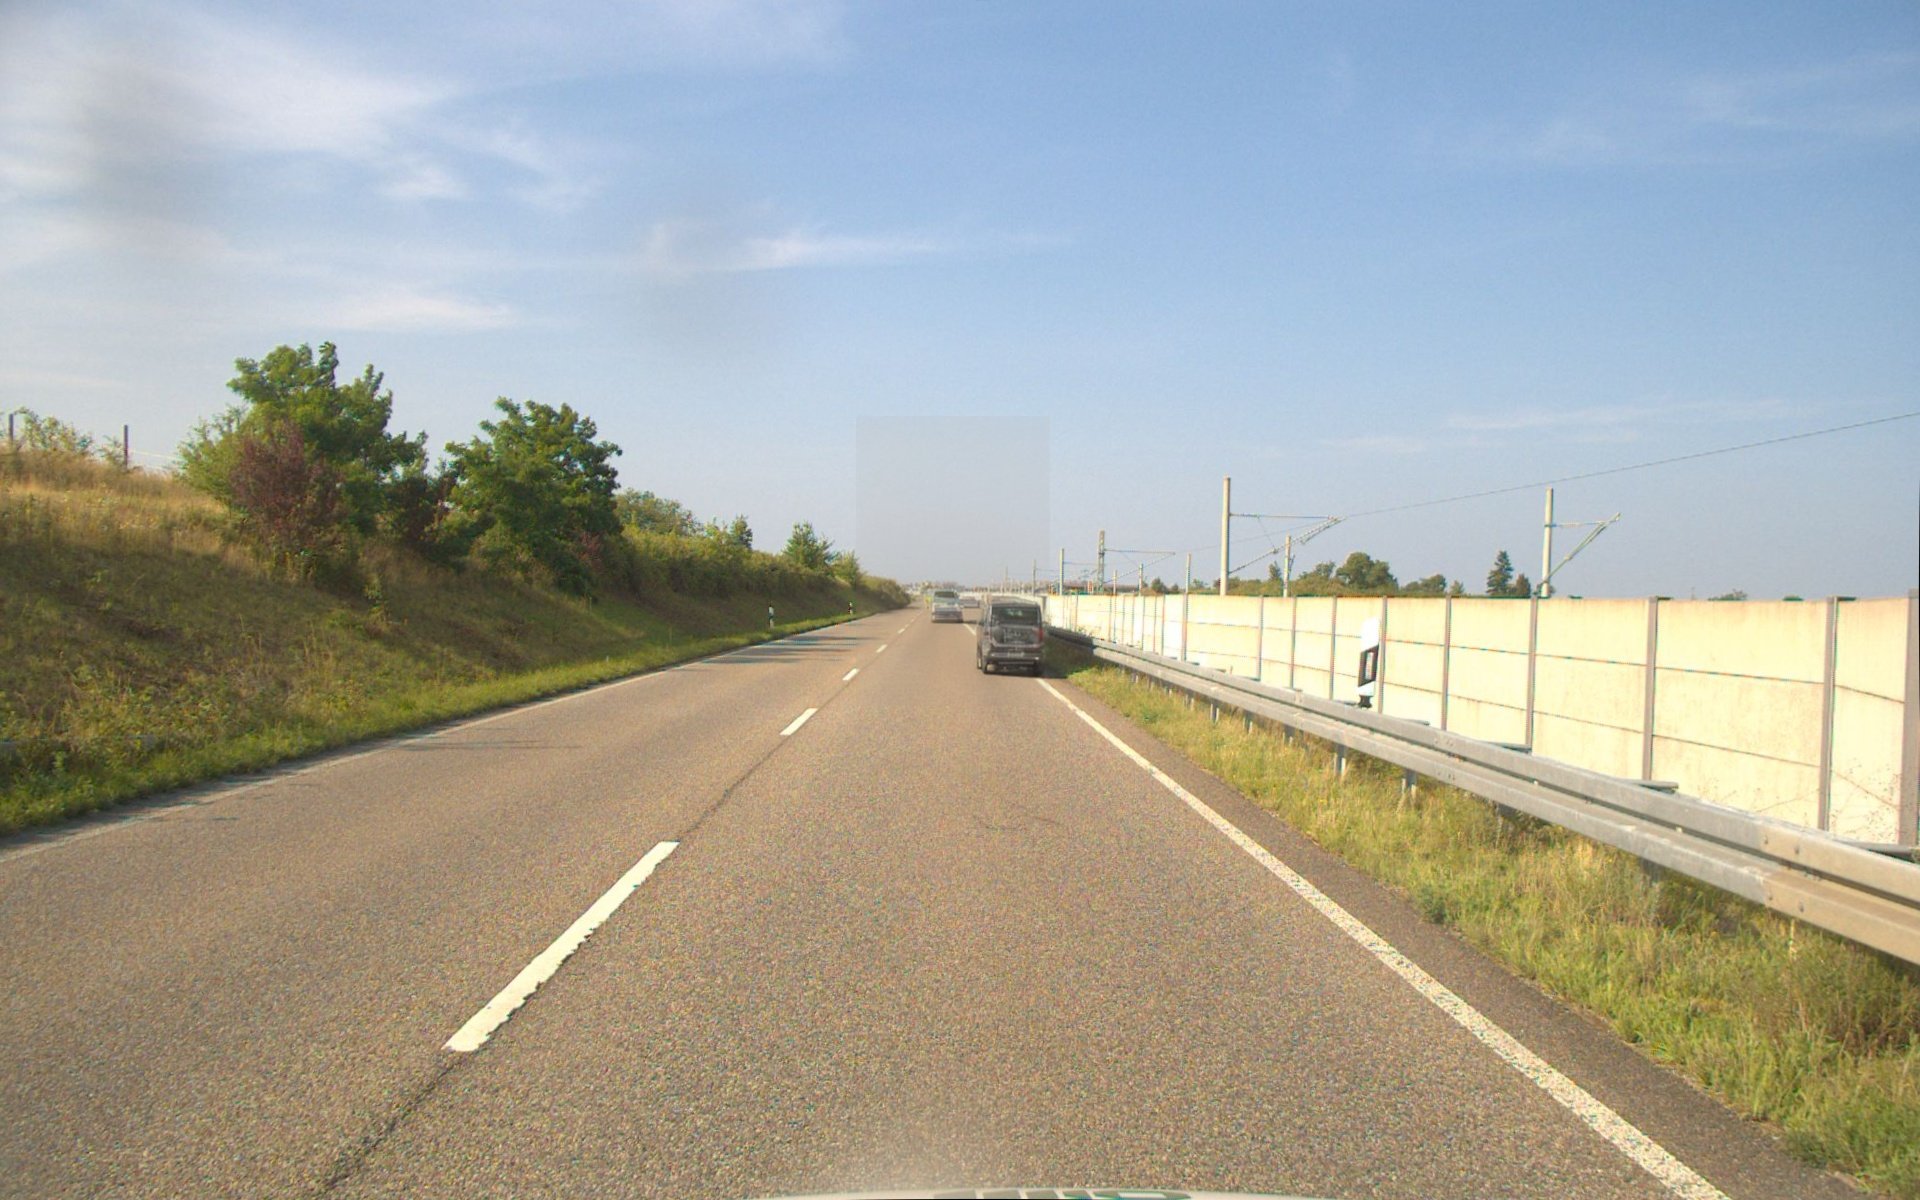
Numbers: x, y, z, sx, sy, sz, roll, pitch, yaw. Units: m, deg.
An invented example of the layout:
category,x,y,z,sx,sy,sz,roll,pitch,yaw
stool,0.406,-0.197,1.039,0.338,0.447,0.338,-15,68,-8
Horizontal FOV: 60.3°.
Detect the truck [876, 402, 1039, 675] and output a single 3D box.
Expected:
category,x,y,z,sx,sy,sz,roll,pitch,yaw
truck,-0.179,-1.187,36.364,2.971,5.006,11.681,0,1,-1
